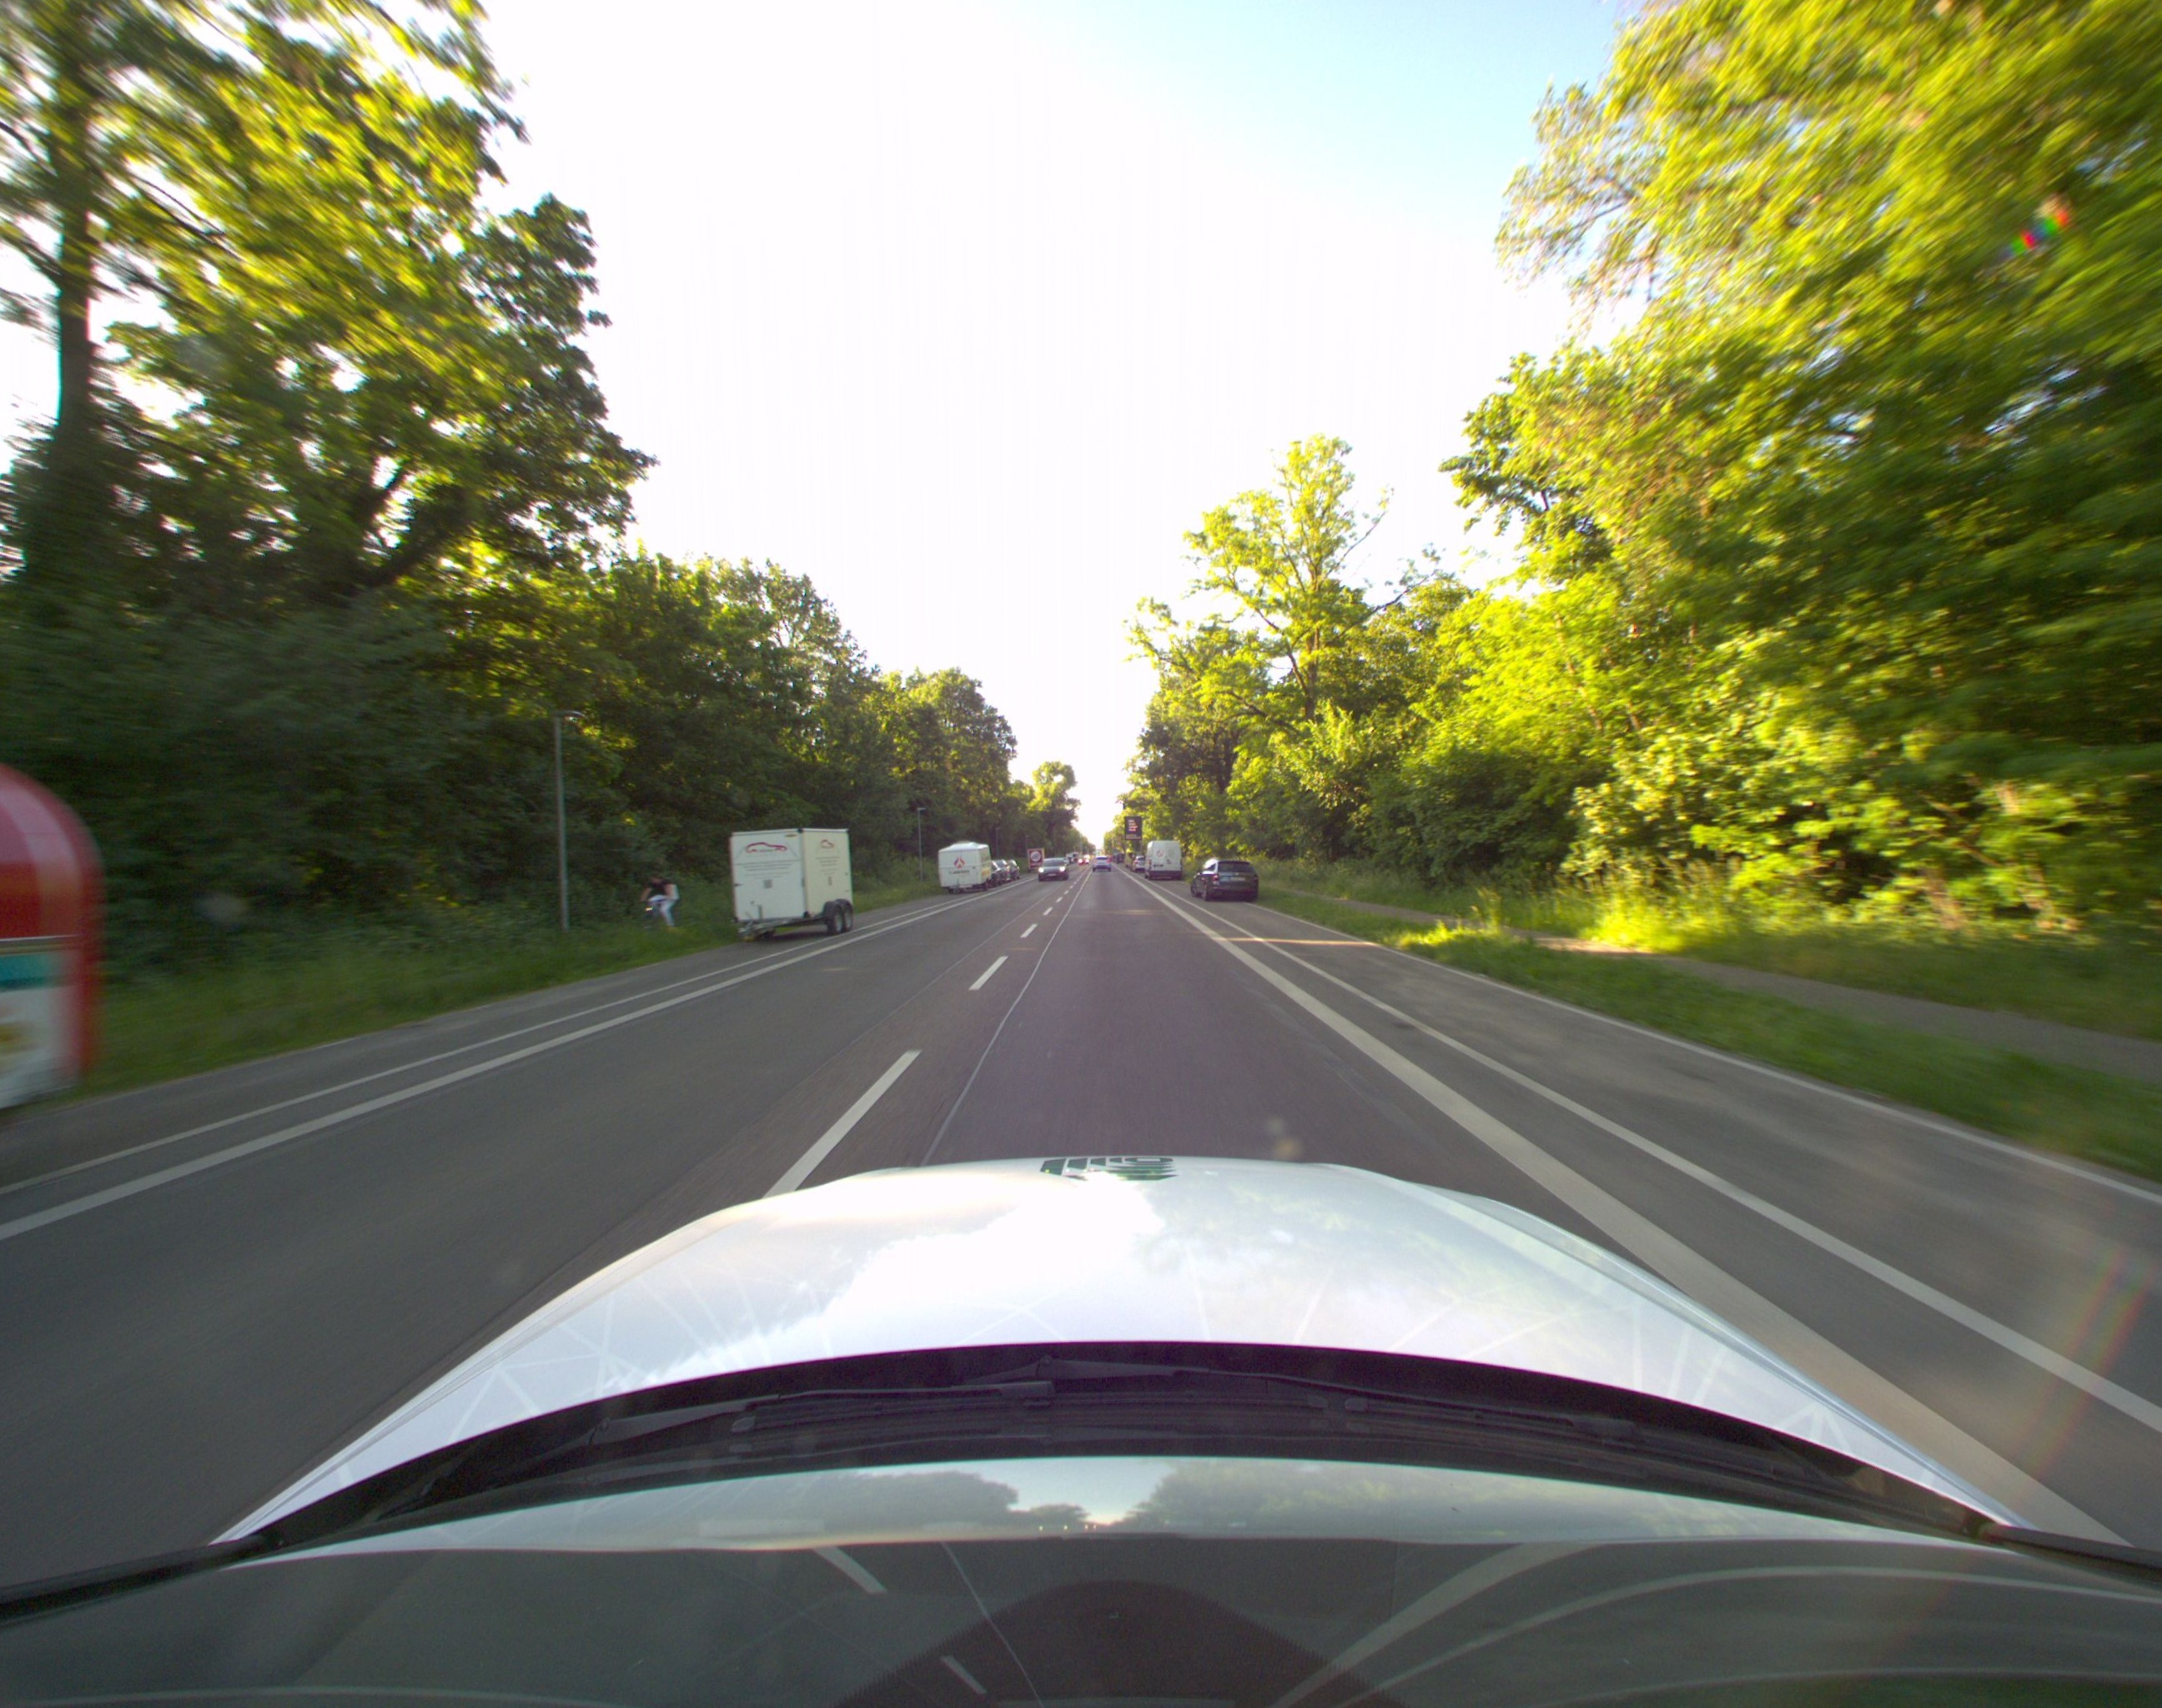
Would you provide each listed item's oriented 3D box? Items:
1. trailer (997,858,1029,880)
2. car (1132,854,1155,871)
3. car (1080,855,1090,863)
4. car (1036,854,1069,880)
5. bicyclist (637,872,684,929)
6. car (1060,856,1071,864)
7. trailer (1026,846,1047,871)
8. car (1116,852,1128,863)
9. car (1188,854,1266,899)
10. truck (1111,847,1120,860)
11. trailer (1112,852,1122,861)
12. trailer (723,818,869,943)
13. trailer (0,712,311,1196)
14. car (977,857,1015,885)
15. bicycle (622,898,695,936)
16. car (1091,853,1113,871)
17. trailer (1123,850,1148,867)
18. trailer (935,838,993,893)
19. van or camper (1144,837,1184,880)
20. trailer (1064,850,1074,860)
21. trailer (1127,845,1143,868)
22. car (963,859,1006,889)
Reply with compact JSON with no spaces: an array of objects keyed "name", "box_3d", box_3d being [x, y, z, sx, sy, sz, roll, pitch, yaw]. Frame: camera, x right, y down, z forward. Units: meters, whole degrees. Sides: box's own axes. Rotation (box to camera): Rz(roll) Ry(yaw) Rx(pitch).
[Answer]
[{"name":"trailer","box_3d":[-4.977,1.071,60.284,1.834,1.466,4.467,-1,0,1]},{"name":"car","box_3d":[5.550,0.725,72.734,1.729,1.488,4.400,0,0,0]},{"name":"car","box_3d":[0.634,0.882,141.994,1.598,1.420,3.519,-3,0,1]},{"name":"car","box_3d":[-1.851,0.842,54.210,1.813,1.532,4.531,-2,-1,1]},{"name":"bicyclist","box_3d":[-10.436,1.140,20.246,0.668,1.364,0.905,-1,-1,2]},{"name":"car","box_3d":[-2.872,1.085,155.260,1.860,1.450,4.072,-4,0,1]},{"name":"trailer","box_3d":[-4.863,0.538,89.628,1.986,2.621,4.087,-2,0,1]},{"name":"car","box_3d":[7.552,0.613,150.054,2.106,2.013,5.041,0,0,2]},{"name":"car","box_3d":[5.020,0.722,28.624,1.829,1.421,4.594,1,0,-1]},{"name":"truck","box_3d":[9.467,-0.161,224.249,2.495,3.366,7.110,-1,-1,2]},{"name":"trailer","box_3d":[8.669,0.628,194.108,1.600,2.112,2.409,-1,0,22]},{"name":"trailer","box_3d":[-6.294,0.553,18.466,2.061,2.480,3.558,-2,0,-2]},{"name":"trailer","box_3d":[-6.574,0.542,4.049,2.061,2.480,3.558,-2,0,-2]},{"name":"car","box_3d":[-5.512,1.076,53.311,1.665,1.574,5.128,-5,-1,1]},{"name":"bicycle","box_3d":[-10.437,1.541,20.218,0.668,0.801,2.099,-1,-1,2]},{"name":"car","box_3d":[2.066,0.759,80.424,1.986,1.640,4.001,-2,0,1]},{"name":"trailer","box_3d":[6.756,0.542,100.599,1.945,2.022,3.864,-1,0,21]},{"name":"trailer","box_3d":[-5.843,0.544,41.096,2.340,2.529,4.341,-2,0,-2]},{"name":"van or camper","box_3d":[5.216,0.279,52.160,2.117,2.482,6.308,-2,0,2]},{"name":"trailer","box_3d":[-2.868,0.303,195.548,2.066,2.293,3.489,-3,0,3]},{"name":"trailer","box_3d":[6.073,0.282,92.517,1.608,2.508,4.001,-1,-1,1]},{"name":"car","box_3d":[-5.409,1.097,46.143,1.665,1.495,4.195,-5,-1,1]}]
